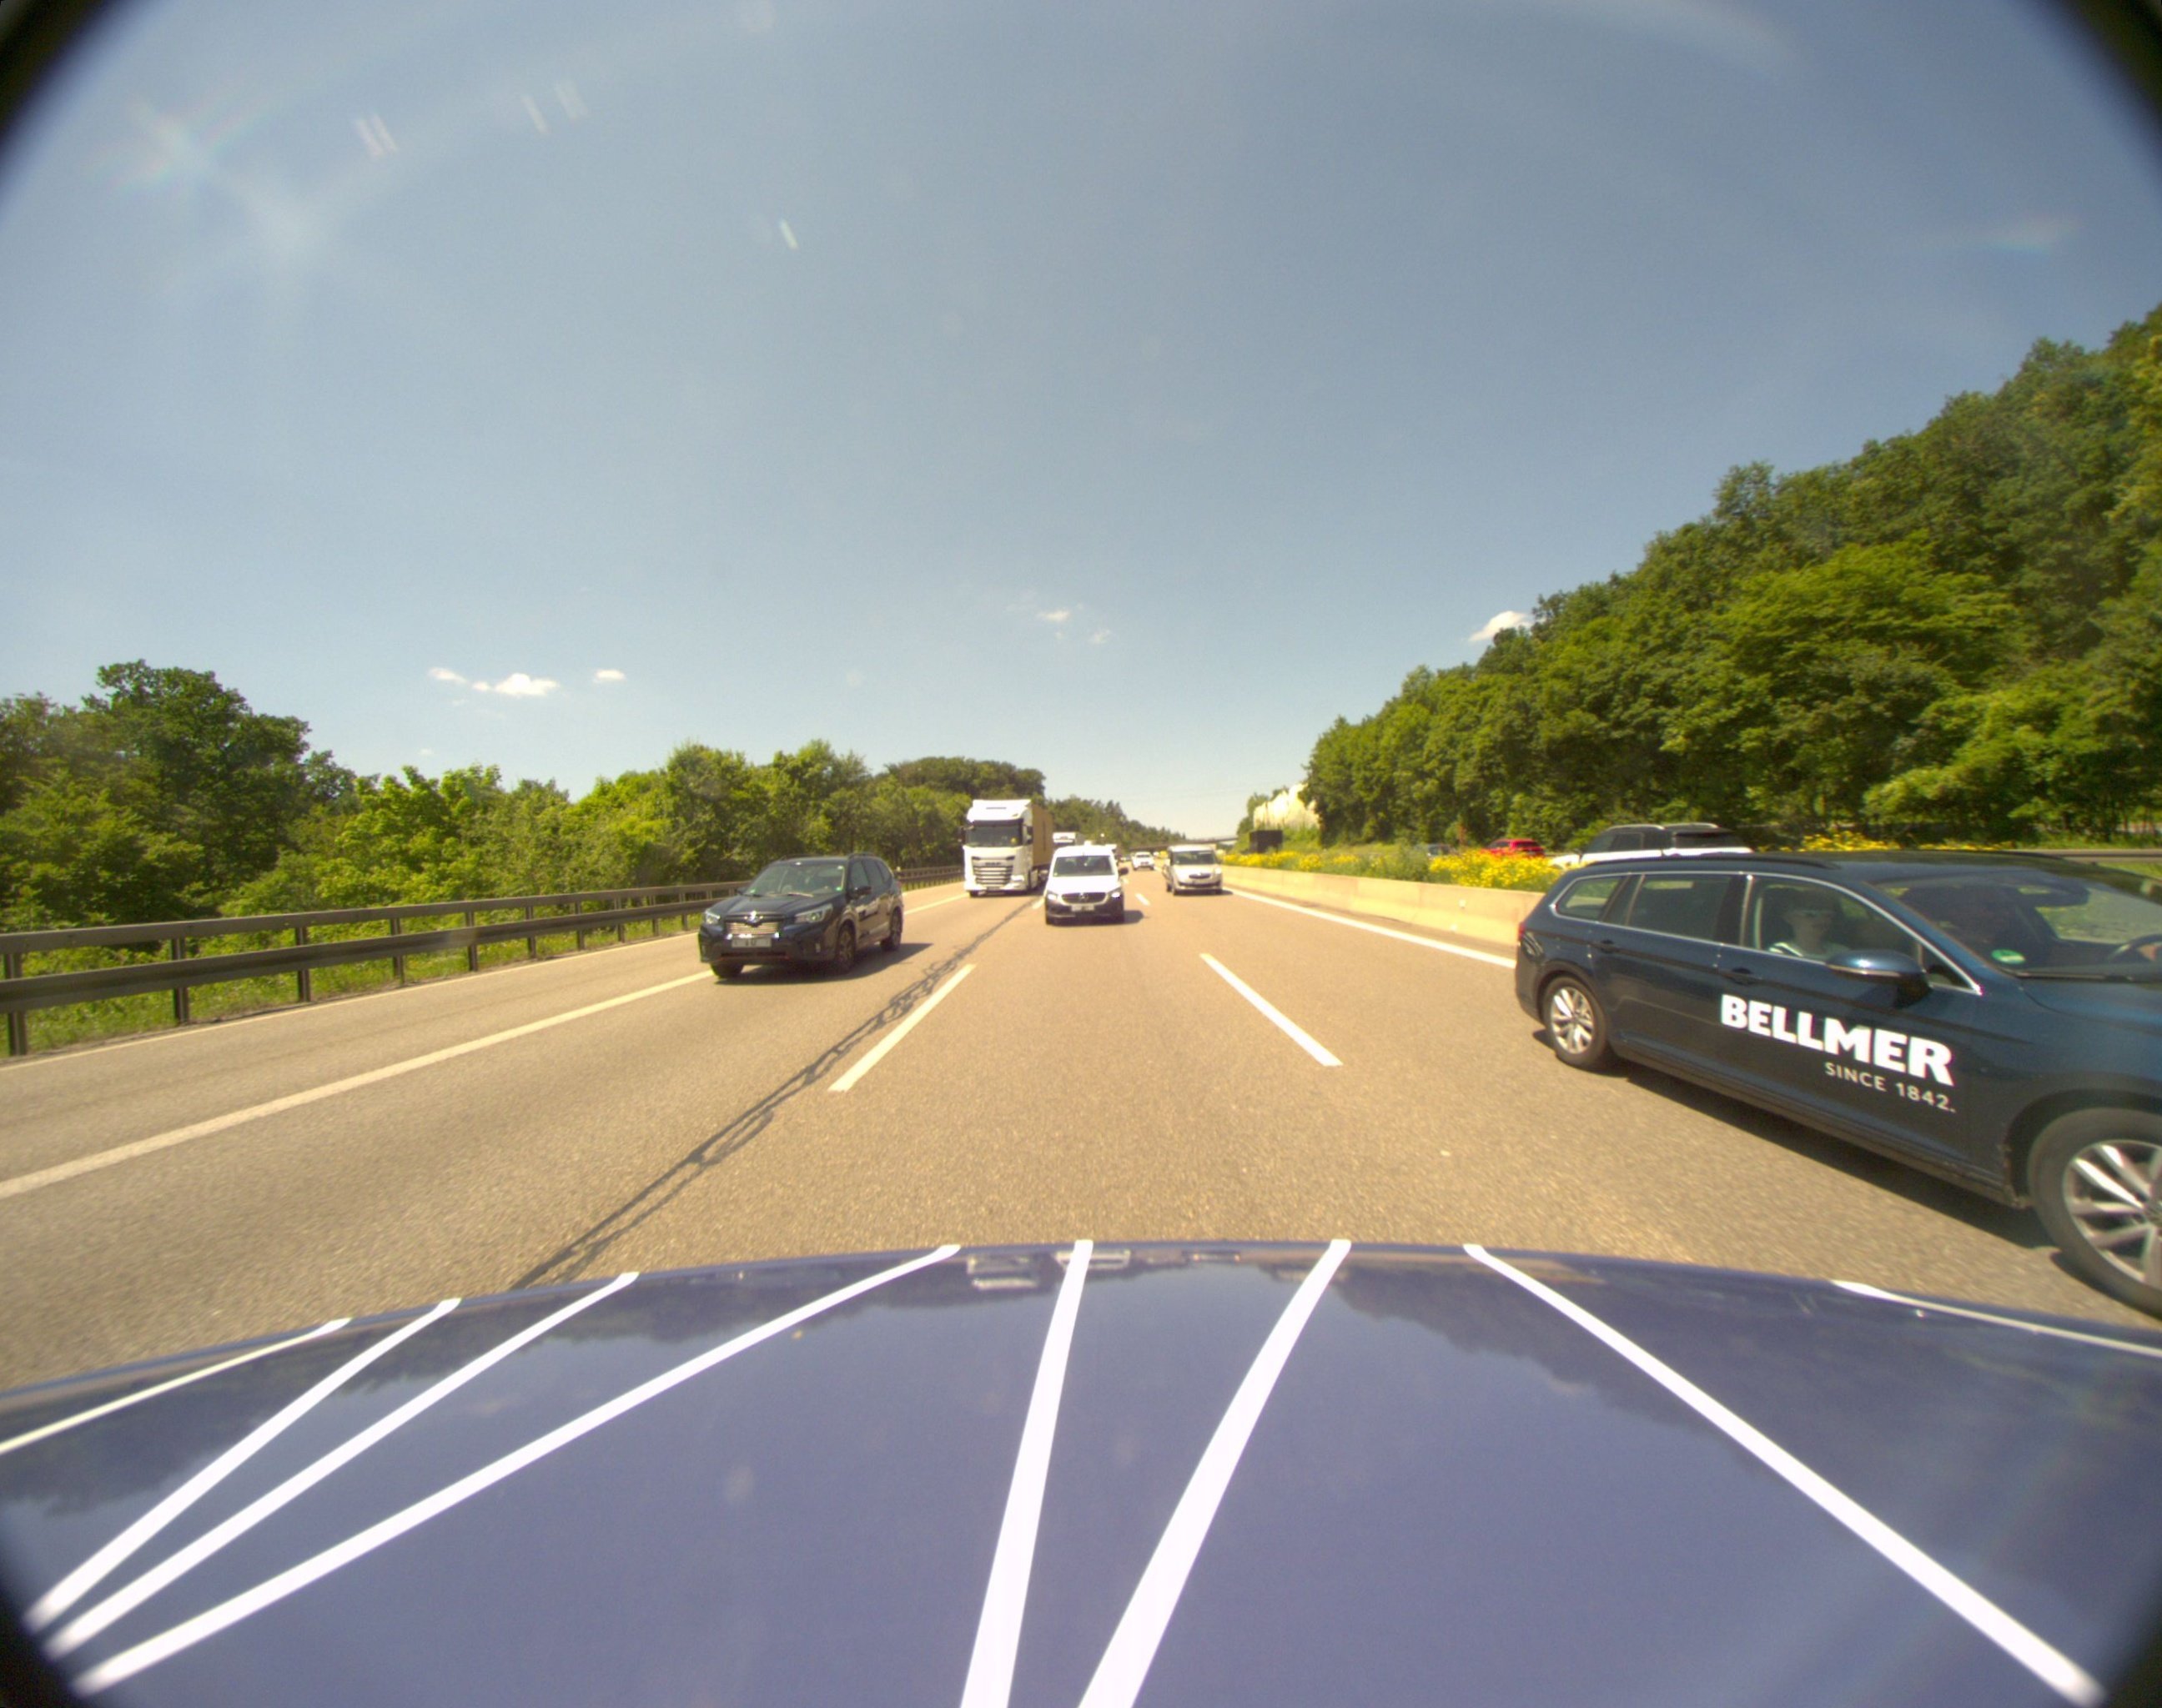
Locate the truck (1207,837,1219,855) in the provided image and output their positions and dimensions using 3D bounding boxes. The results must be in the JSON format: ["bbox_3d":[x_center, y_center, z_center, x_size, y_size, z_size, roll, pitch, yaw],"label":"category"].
[{"bbox_3d":[30.169,-1.821,173.807,2.386,3.933,6.908,-2,0,10],"label":"truck"}]

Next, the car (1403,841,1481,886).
[{"bbox_3d":[15.659,0.387,33.128,1.536,1.760,3.885,-2,0,1],"label":"car"}]

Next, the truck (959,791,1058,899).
[{"bbox_3d":[-3.103,-0.438,38.053,2.789,4.145,16.267,-2,1,2],"label":"truck"}]

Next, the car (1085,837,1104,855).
[{"bbox_3d":[1.973,-1.240,114.938,2.722,2.534,5.940,-2,1,0],"label":"car"}]

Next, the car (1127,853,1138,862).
[{"bbox_3d":[11.545,0.757,169.861,1.999,2.002,4.000,-2,0,0],"label":"car"}]

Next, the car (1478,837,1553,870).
[{"bbox_3d":[23.077,-0.035,40.497,1.731,1.625,3.999,-2,1,1],"label":"car"}]

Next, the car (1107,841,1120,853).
[{"bbox_3d":[7.494,-1.614,175.728,2.722,2.534,5.940,-2,1,0],"label":"car"}]

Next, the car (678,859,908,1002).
[{"bbox_3d":[-4.108,0.982,11.667,1.816,1.658,4.203,-2,1,1],"label":"car"}]

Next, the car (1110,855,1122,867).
[{"bbox_3d":[6.364,1.256,138.094,1.903,2.002,3.999,-2,0,-1],"label":"car"}]

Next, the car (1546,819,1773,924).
[{"bbox_3d":[11.202,0.304,15.084,1.536,1.760,3.885,-2,0,1],"label":"car"}]

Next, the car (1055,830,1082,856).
[{"bbox_3d":[-1.261,-1.136,80.304,2.722,2.534,5.940,-2,1,0],"label":"car"}]

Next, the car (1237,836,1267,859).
[{"bbox_3d":[13.551,-0.516,60.394,1.536,1.760,3.885,-2,0,1],"label":"car"}]

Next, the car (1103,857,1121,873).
[{"bbox_3d":[4.218,1.436,103.426,1.999,2.002,3.999,-2,0,-2],"label":"car"}]

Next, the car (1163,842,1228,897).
[{"bbox_3d":[4.170,0.543,28.182,1.780,1.833,4.000,-2,0,1],"label":"car"}]

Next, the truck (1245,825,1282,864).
[{"bbox_3d":[17.443,-0.884,72.844,1.998,3.485,6.026,-2,0,1],"label":"truck"}]

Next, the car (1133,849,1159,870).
[{"bbox_3d":[6.022,0.452,70.689,1.998,1.827,4.000,-2,0,0],"label":"car"}]

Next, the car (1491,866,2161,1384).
[{"bbox_3d":[4.073,0.832,3.605,1.737,1.419,4.730,-2,0,1],"label":"car"}]

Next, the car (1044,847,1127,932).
[{"bbox_3d":[0.130,0.760,18.601,1.729,1.760,4.312,-2,1,1],"label":"car"}]
